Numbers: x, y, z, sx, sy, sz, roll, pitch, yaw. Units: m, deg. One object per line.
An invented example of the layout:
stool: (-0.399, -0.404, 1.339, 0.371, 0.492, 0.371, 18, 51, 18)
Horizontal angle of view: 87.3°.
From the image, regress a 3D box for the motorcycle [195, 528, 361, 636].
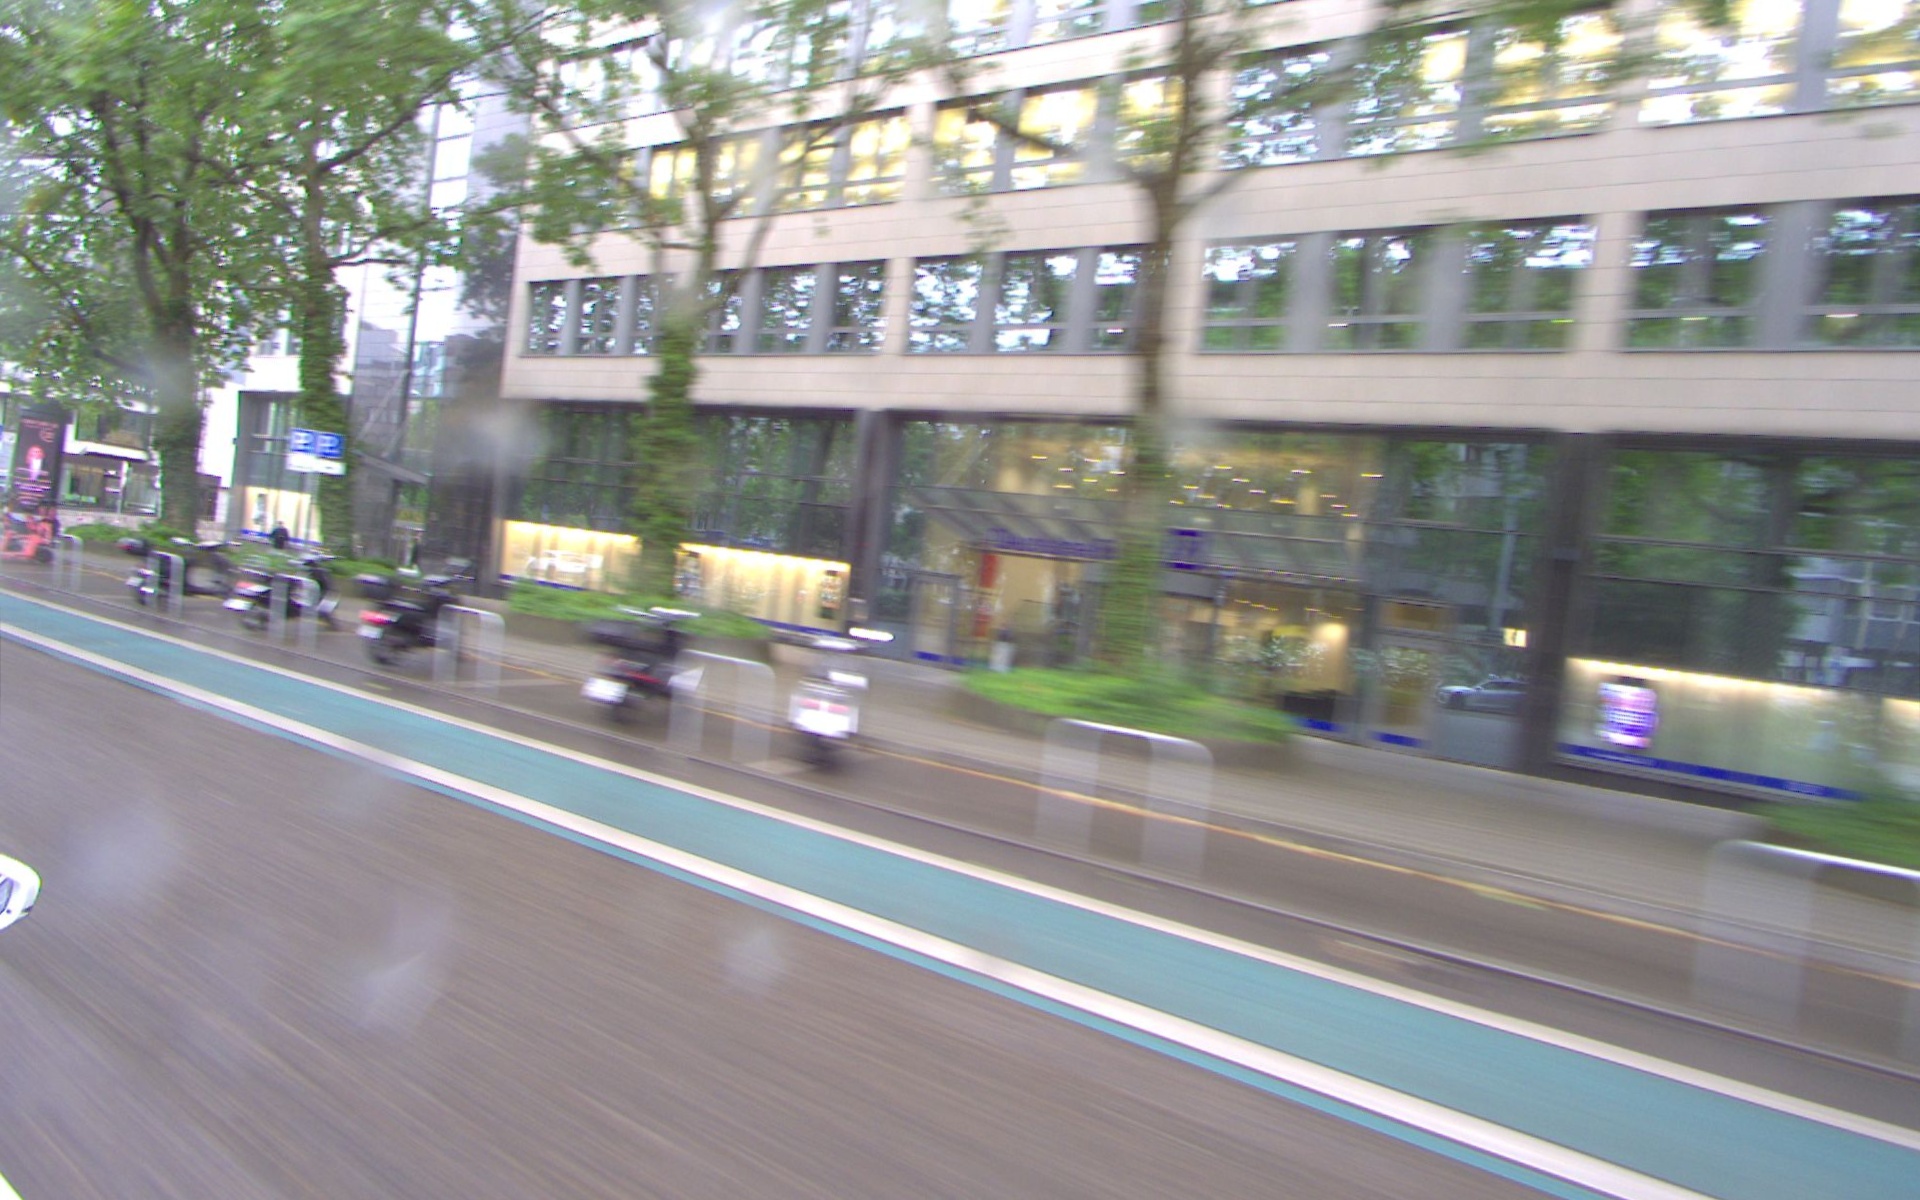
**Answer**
motorcycle: (-9.856, -0.241, 14.639, 0.715, 1.391, 1.961, 8, 2, 10)

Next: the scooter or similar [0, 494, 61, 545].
scooter or similar: (-25.922, -2.231, 27.975, 1.269, 1.212, 0.489, 7, 0, 0)

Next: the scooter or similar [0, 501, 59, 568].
scooter or similar: (-20.025, -1.411, 21.272, 0.528, 1.295, 1.289, 9, 2, 35)

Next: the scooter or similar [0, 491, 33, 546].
scooter or similar: (-24.491, -2.118, 25.911, 1.272, 1.276, 0.488, 9, 3, 32)

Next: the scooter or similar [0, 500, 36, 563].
scooter or similar: (-21.011, -1.520, 21.778, 0.527, 1.295, 1.292, 9, 2, 21)

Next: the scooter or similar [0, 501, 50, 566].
scooter or similar: (-20.403, -1.452, 21.487, 0.528, 1.295, 1.289, 9, 2, 35)

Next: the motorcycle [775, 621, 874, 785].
motorcycle: (-1.230, 0.898, 9.507, 0.672, 1.229, 2.057, 5, 2, -4)

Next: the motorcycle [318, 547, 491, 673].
motorcycle: (-6.988, 0.119, 12.784, 0.715, 1.391, 1.961, 8, 2, 10)

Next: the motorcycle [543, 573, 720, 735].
motorcycle: (-3.373, 0.516, 10.561, 0.715, 1.447, 2.060, 8, 2, 10)

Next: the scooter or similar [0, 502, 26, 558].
scooter or similar: (-22.573, -1.670, 23.243, 0.481, 1.252, 1.290, 9, 2, 33)

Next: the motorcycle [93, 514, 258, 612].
motorcycle: (-12.601, -0.551, 16.245, 0.715, 1.391, 1.961, 8, 2, 15)

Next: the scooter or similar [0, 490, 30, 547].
scooter or similar: (-23.660, -2.045, 24.950, 1.272, 1.276, 0.488, 9, 3, 32)

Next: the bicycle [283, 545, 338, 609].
bicycle: (-11.828, -0.437, 18.351, 0.632, 1.040, 1.750, 7, -1, -29)

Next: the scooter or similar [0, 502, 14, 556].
scooter or similar: (-23.194, -1.736, 23.626, 0.481, 1.252, 1.290, 9, 2, 33)

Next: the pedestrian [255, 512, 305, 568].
pedestrian: (-25.029, -2.213, 37.026, 1.255, 1.872, 0.919, 6, -1, 31)

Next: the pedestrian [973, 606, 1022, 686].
pedestrian: (0.863, 1.060, 23.331, 0.718, 1.714, 0.825, 7, 1, -16)

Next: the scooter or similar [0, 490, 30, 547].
scooter or similar: (-23.660, -2.045, 24.950, 1.272, 1.276, 0.488, 9, 3, 32)
